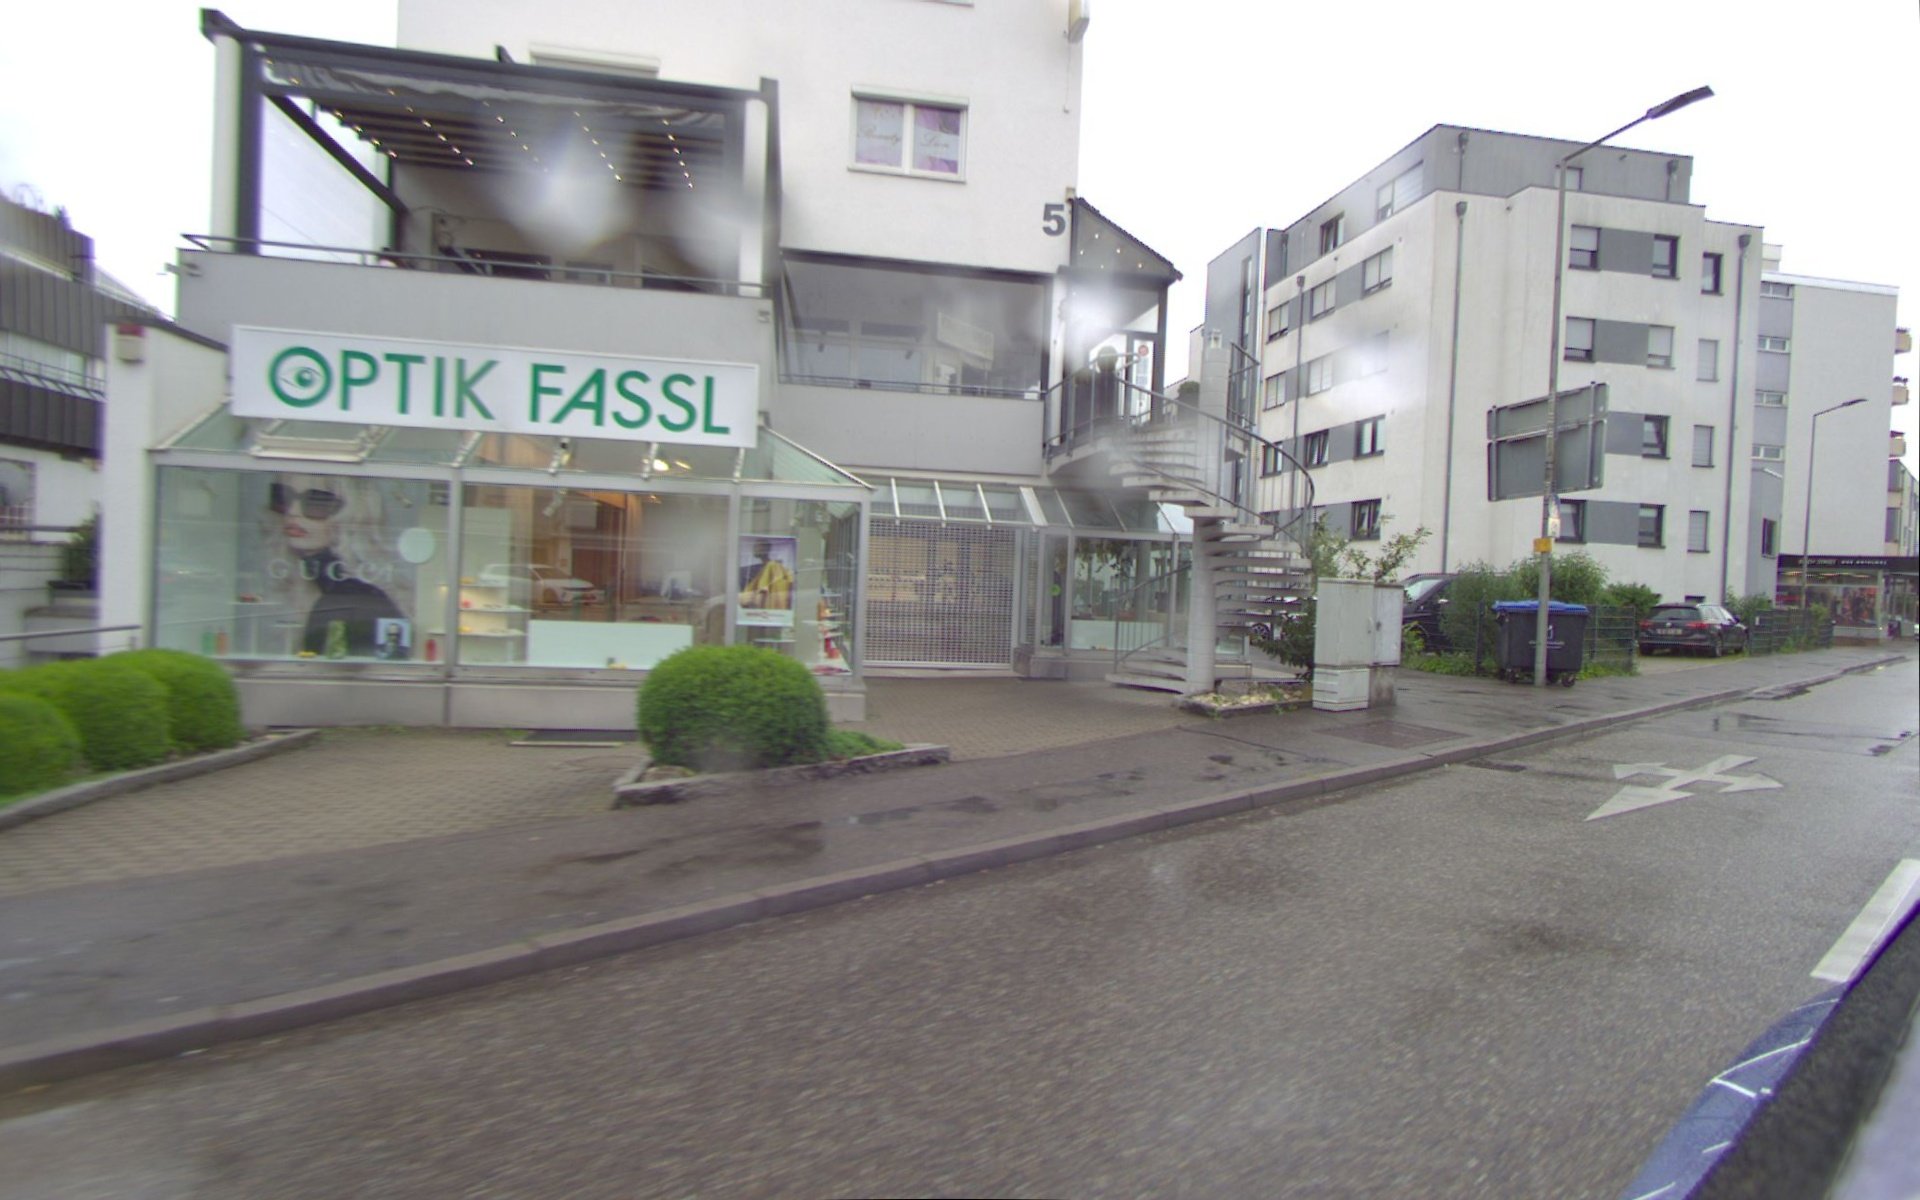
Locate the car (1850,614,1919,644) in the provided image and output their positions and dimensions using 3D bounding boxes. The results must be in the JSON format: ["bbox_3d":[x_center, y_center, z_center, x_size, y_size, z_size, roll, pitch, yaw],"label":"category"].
[{"bbox_3d":[53.353,1.682,57.161,1.833,1.513,4.280,4,0,-13],"label":"car"}]

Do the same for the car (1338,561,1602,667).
[{"bbox_3d":[10.918,0.275,21.849,4.681,2.038,2.003,2,1,-8],"label":"car"}]

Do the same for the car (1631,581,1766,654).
[{"bbox_3d":[20.641,0.458,28.214,4.608,1.807,1.998,1,2,-41],"label":"car"}]
